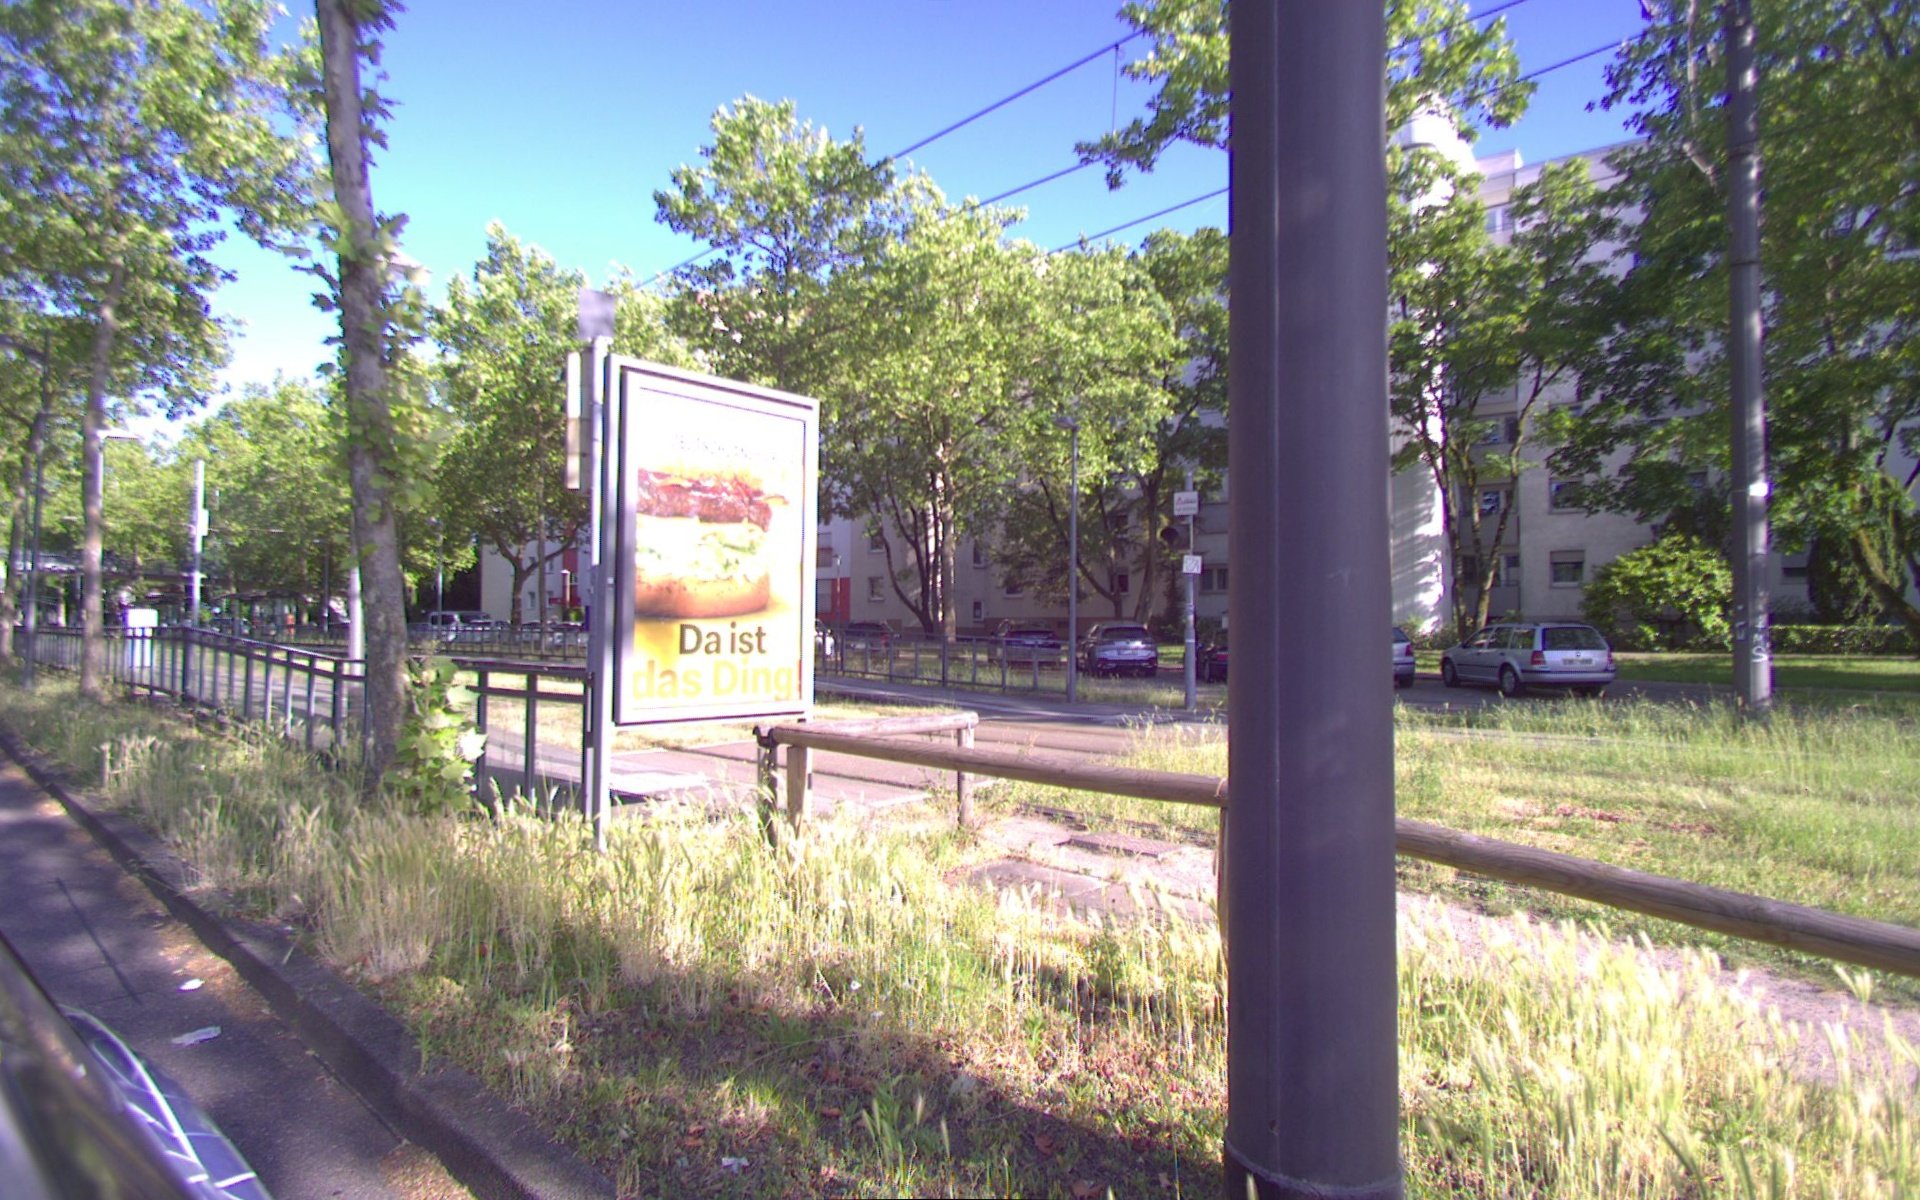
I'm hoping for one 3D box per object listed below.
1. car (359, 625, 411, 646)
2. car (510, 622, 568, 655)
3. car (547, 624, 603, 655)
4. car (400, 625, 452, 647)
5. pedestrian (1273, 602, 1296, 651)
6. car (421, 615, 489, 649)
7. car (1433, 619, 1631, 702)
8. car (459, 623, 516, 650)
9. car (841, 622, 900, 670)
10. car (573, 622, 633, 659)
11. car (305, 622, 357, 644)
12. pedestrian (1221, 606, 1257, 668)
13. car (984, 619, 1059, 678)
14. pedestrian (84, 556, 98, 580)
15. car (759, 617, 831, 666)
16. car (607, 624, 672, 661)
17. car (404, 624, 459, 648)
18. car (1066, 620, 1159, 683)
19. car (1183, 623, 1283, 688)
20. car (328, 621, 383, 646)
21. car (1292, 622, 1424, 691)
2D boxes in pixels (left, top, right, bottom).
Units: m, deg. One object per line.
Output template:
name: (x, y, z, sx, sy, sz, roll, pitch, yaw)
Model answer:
car: (-37.486, 2.314, 66.012, 1.459, 1.330, 3.488, 0, -1, -1)
car: (-21.195, 1.928, 51.039, 1.539, 1.436, 3.489, -3, 0, -2)
car: (-18.769, 1.902, 49.478, 1.459, 1.339, 3.488, -2, 0, -1)
car: (-33.046, 2.204, 62.678, 1.459, 1.311, 3.488, 0, -1, -1)
pedestrian: (11.762, 0.964, 36.642, 0.634, 1.770, 0.516, -1, -2, 39)
car: (-28.418, 1.795, 57.069, 1.843, 1.826, 4.047, 0, -1, 0)
car: (11.525, 1.161, 20.740, 1.685, 1.454, 3.978, -1, 0, -2)
car: (-25.877, 2.003, 55.539, 1.605, 1.414, 3.488, 0, -1, -1)
car: (-3.014, 1.542, 34.674, 1.538, 1.439, 3.761, -1, 0, 3)
car: (-16.515, 1.851, 46.945, 1.445, 1.519, 3.393, -1, 0, 3)
car: (-45.024, 2.363, 72.563, 1.578, 1.538, 3.737, 0, -1, -3)
pedestrian: (8.106, 1.056, 29.419, 0.755, 1.770, 0.752, -1, -2, 41)
car: (1.741, 1.369, 29.806, 1.669, 1.499, 4.003, -1, 0, -4)
pedestrian: (-68.345, -2.534, 79.625, 0.511, 1.898, 0.728, -1, 0, 40)
car: (-6.005, 1.486, 37.223, 1.791, 1.607, 3.997, -1, 0, 3)
car: (-14.039, 1.840, 44.489, 1.470, 1.425, 3.880, -1, 0, 3)
car: (-30.953, 2.087, 59.404, 1.459, 1.354, 3.488, 0, -1, -1)
car: (4.092, 1.337, 27.710, 1.650, 1.469, 4.004, -1, 0, -4)
car: (6.740, 1.322, 25.345, 1.572, 1.360, 3.922, -1, 0, 3)
car: (-40.656, 2.221, 68.103, 1.578, 1.582, 3.830, 0, -1, -3)
car: (9.159, 1.257, 23.582, 1.553, 1.431, 3.620, -1, -1, -1)
